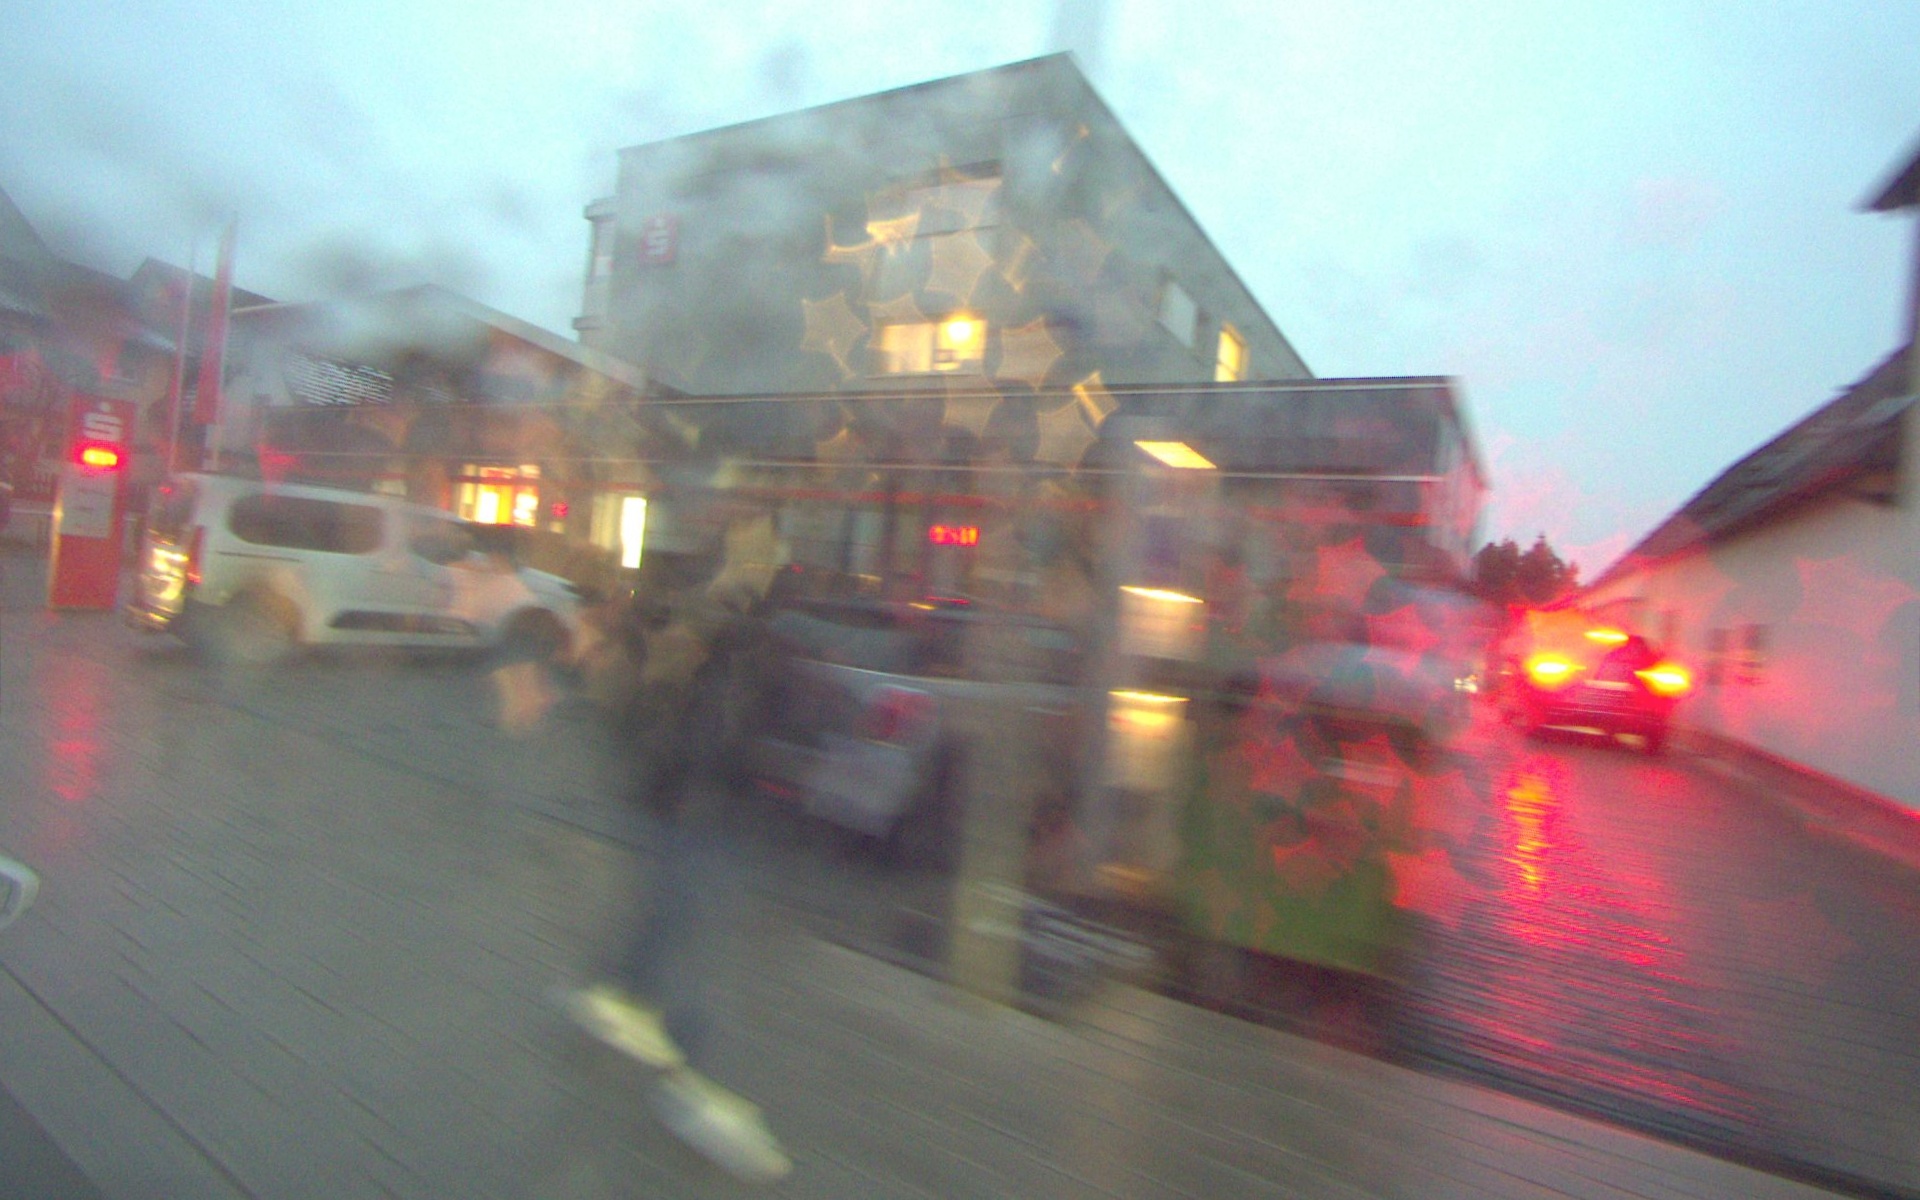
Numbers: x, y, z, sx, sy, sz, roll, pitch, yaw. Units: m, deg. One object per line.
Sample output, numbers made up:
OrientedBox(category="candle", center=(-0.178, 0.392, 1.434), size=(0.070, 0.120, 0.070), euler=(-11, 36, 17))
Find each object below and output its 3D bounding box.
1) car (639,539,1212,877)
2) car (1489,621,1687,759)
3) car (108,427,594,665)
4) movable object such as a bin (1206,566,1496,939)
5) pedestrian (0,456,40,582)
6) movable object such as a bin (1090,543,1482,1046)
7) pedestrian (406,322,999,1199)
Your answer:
OrientedBox(category="car", center=(0.090, 0.623, 6.918), size=(1.882, 1.504, 3.990), euler=(6, -1, 33))
OrientedBox(category="car", center=(9.556, 1.263, 15.663), size=(1.964, 1.696, 3.994), euler=(5, 1, 24))
OrientedBox(category="car", center=(-6.527, -0.463, 11.157), size=(1.970, 2.076, 4.086), euler=(7, 1, 38))
OrientedBox(category="movable object such as a bin", center=(2.193, 0.735, 5.566), size=(1.164, 1.666, 1.287), euler=(7, 2, 28))
OrientedBox(category="pedestrian", center=(-13.747, -1.182, 14.224), size=(0.899, 1.727, 0.705), euler=(7, 2, 25))
OrientedBox(category="movable object such as a bin", center=(1.482, 0.693, 4.400), size=(1.239, 1.665, 1.394), euler=(7, 2, 28))
OrientedBox(category="pedestrian", center=(-0.644, 0.366, 2.695), size=(0.988, 1.914, 0.967), euler=(7, 2, 28))
